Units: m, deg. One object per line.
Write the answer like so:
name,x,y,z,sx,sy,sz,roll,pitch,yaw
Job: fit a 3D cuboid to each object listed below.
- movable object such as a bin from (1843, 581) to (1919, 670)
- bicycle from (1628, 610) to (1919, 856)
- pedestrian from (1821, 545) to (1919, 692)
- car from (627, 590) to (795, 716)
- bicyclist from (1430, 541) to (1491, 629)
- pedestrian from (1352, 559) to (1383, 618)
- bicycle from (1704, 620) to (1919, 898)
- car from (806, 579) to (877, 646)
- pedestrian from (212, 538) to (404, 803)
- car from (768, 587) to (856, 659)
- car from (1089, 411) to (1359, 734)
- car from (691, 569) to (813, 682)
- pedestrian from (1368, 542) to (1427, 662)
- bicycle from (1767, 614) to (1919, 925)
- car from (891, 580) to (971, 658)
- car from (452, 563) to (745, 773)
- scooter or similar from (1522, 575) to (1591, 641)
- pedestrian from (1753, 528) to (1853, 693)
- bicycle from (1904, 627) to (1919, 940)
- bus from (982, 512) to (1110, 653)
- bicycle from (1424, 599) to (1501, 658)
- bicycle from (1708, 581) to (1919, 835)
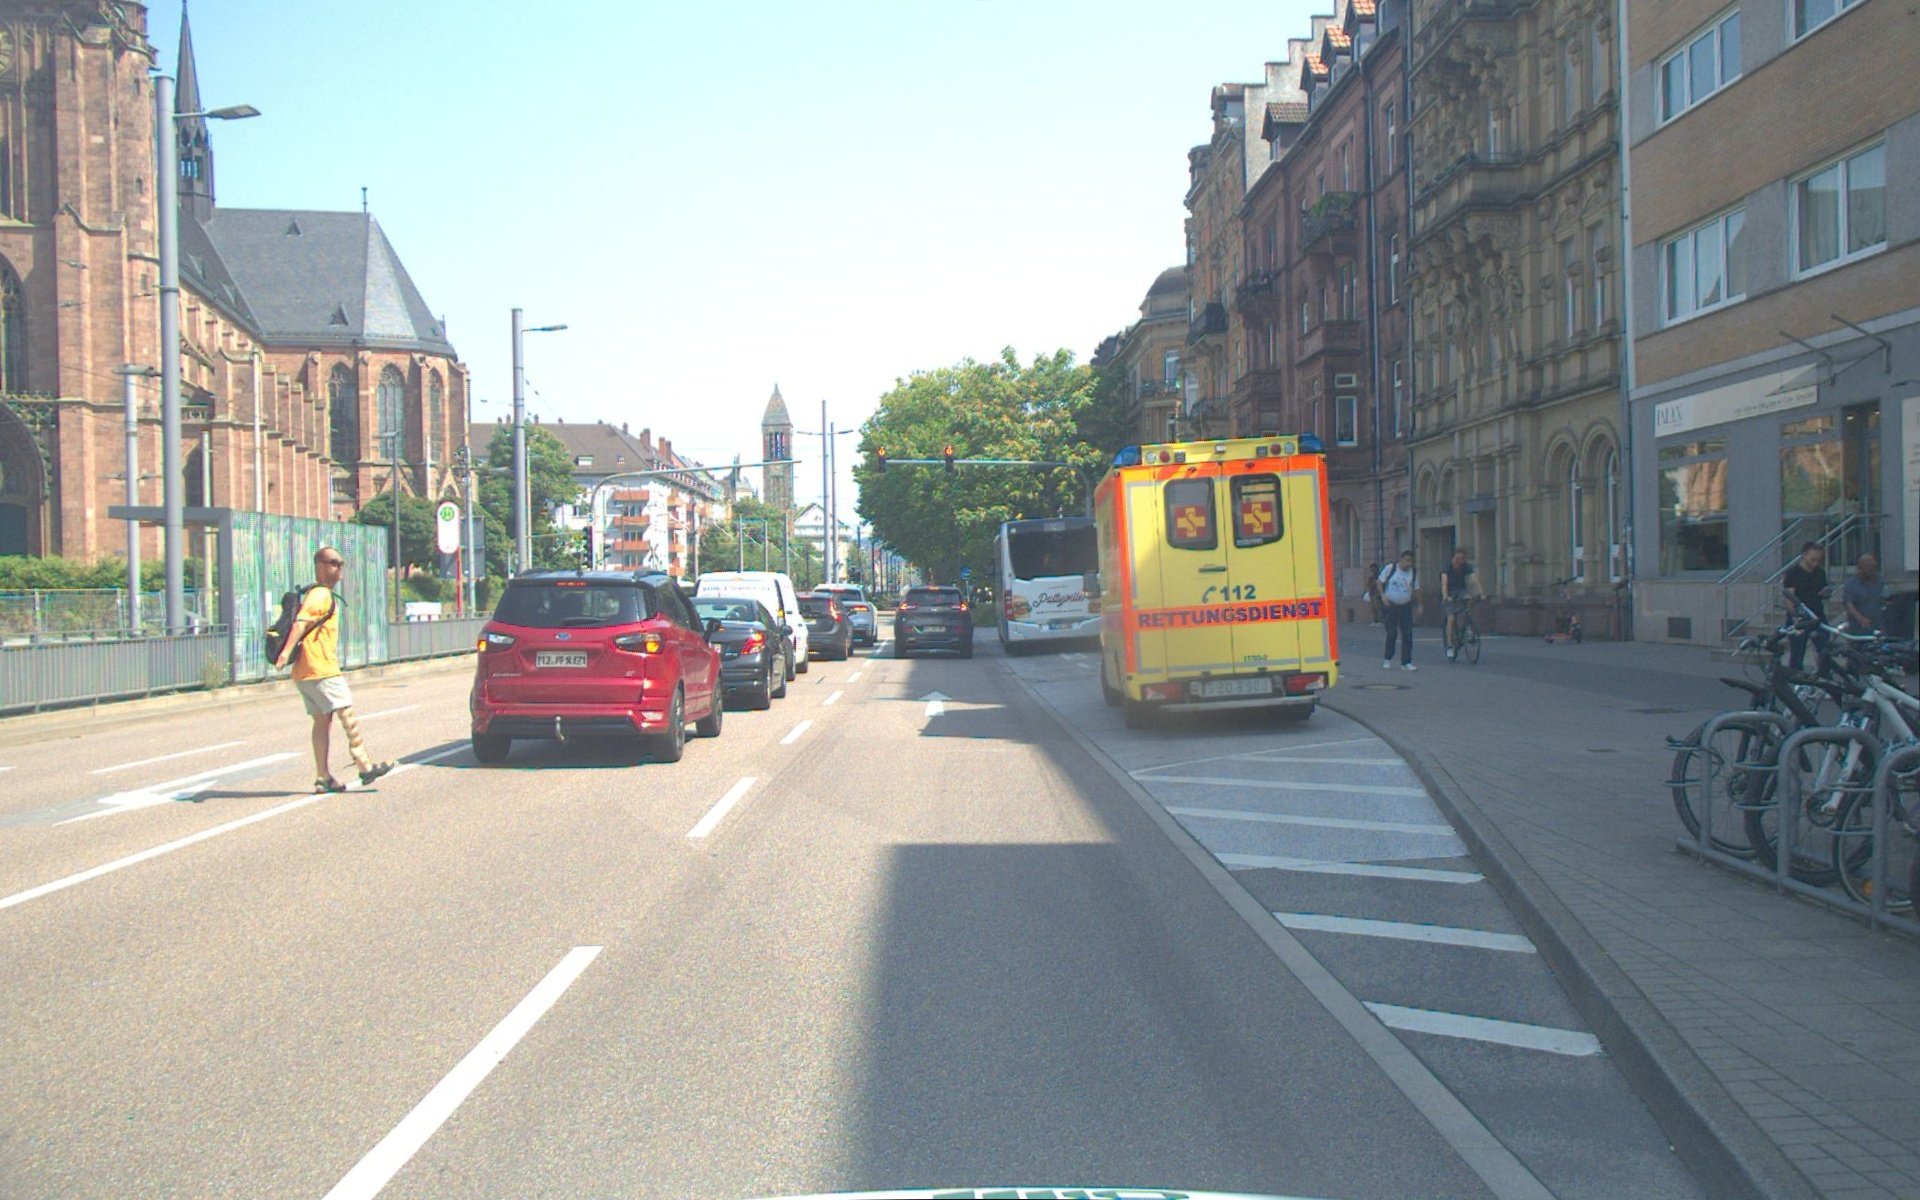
movable object such as a bin,11.501,0.312,20.566,0.642,1.066,0.752,-2,1,-44
bicycle,4.136,0.603,7.759,1.739,1.090,0.644,-1,0,4
pedestrian,9.730,0.188,17.644,0.630,1.519,0.789,-1,0,-1
car,-3.210,0.621,21.984,1.754,1.456,3.998,-2,1,-3
bicyclist,7.874,-0.238,26.045,0.737,1.345,0.581,-2,0,-1
pedestrian,11.416,-0.326,46.326,0.611,1.621,0.695,-2,0,-7
bicycle,4.110,0.640,7.003,1.624,1.090,0.644,-1,0,-1
car,-3.209,0.340,45.406,1.754,1.728,3.998,-1,0,-2
pedestrian,-4.577,0.480,11.671,1.044,1.782,0.763,-1,-1,-4
car,-3.296,0.511,37.494,1.754,1.498,3.998,-1,0,-2
car,2.704,-0.293,18.384,2.251,2.938,5.601,-3,1,3
car,-3.591,0.437,29.142,1.754,1.811,3.998,-1,0,-2
pedestrian,6.372,0.024,24.075,0.683,1.696,0.602,-2,1,25
bicycle,4.027,0.609,6.279,1.624,1.090,0.644,-1,1,-1
car,-0.723,0.434,38.938,1.754,1.707,3.998,-1,0,-2
car,-3.174,0.528,15.351,1.726,1.646,4.083,-2,1,1
scooter or similar,11.304,0.150,31.364,0.505,1.217,1.296,-1,0,-20
pedestrian,9.067,0.107,17.805,0.630,1.714,0.789,-1,0,-1
bicycle,4.115,0.642,5.661,1.506,1.090,0.472,-1,1,-1
bus,2.022,-0.433,43.338,2.482,3.084,12.434,-1,0,-1
bicycle,7.897,0.441,26.066,0.577,0.869,1.774,-3,-1,-2
bicycle,4.762,0.523,8.382,1.638,1.237,0.644,-1,0,4
